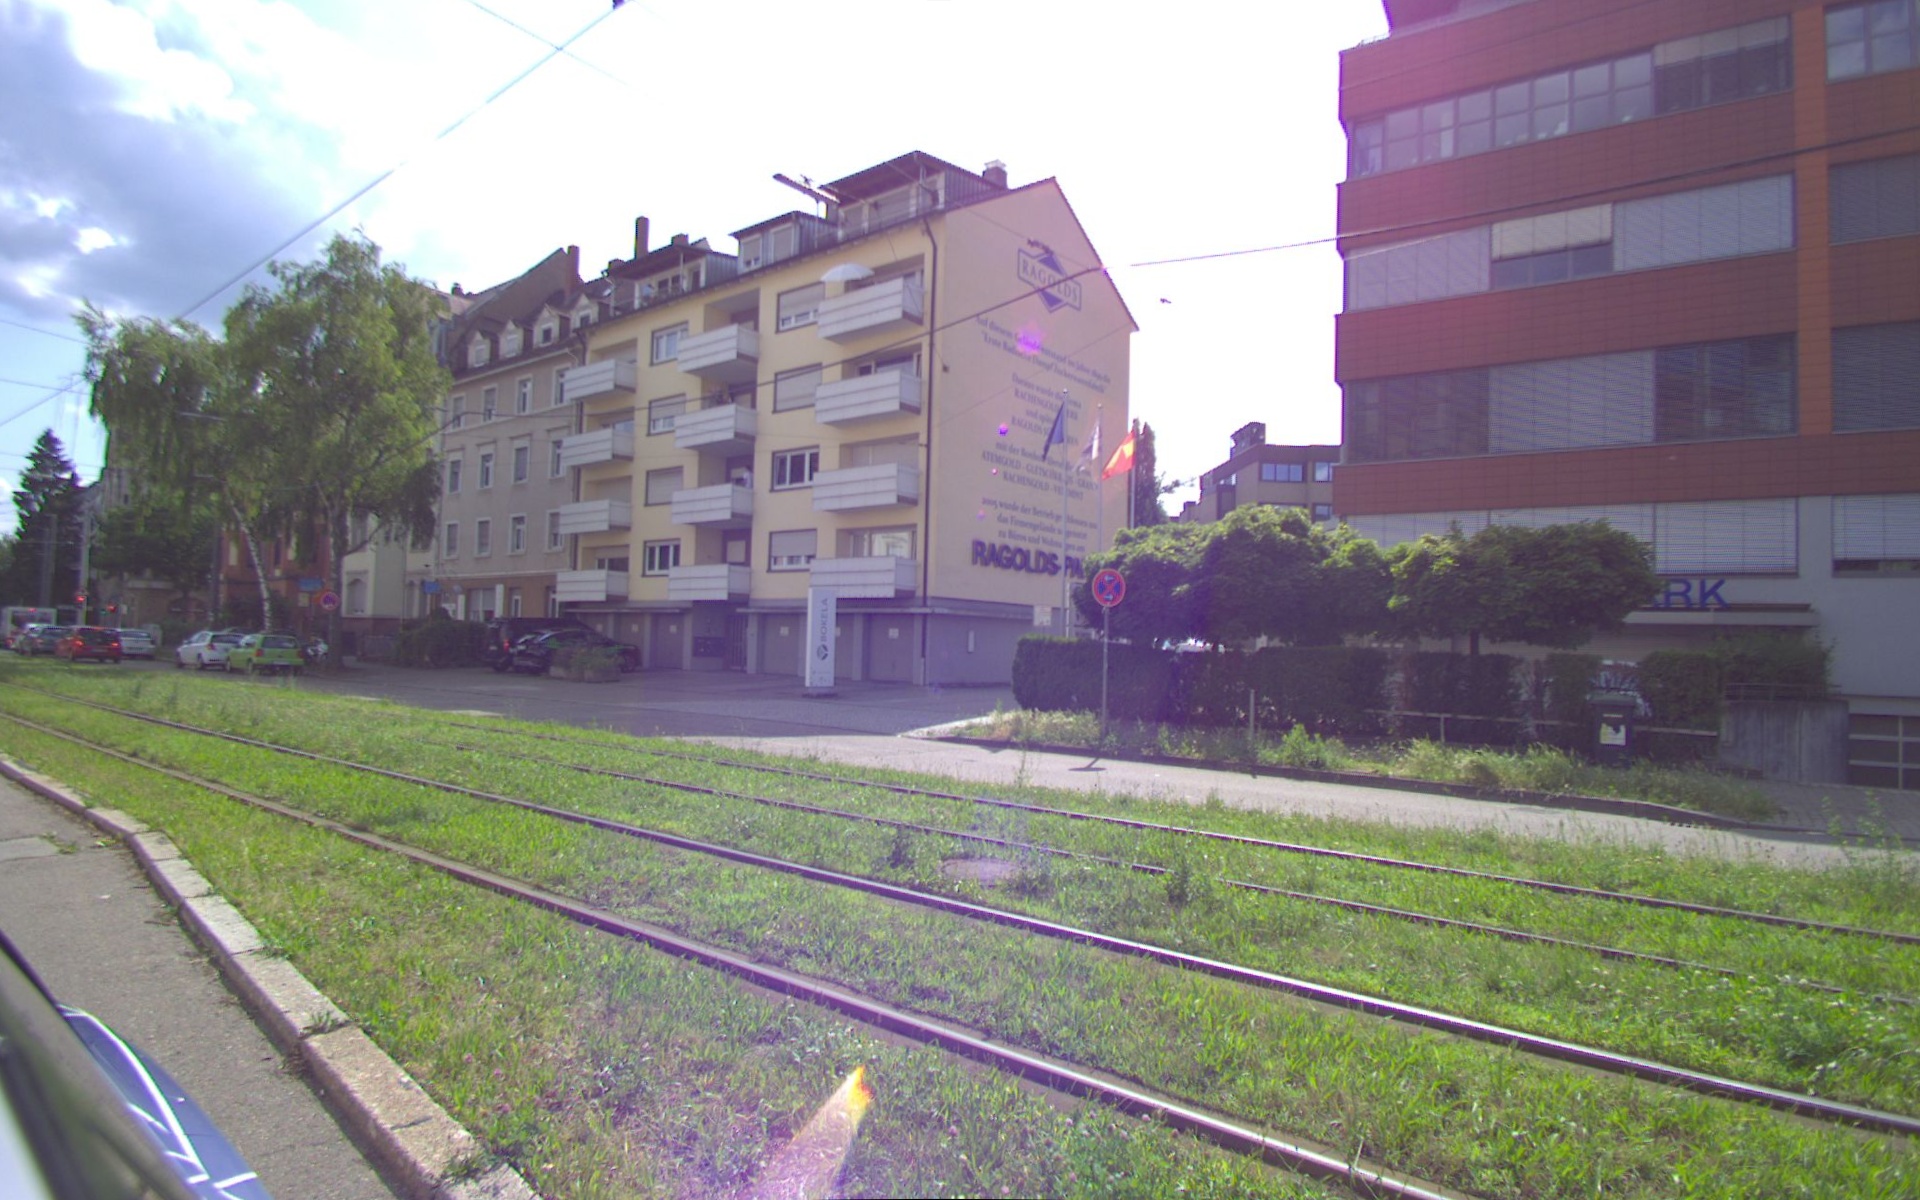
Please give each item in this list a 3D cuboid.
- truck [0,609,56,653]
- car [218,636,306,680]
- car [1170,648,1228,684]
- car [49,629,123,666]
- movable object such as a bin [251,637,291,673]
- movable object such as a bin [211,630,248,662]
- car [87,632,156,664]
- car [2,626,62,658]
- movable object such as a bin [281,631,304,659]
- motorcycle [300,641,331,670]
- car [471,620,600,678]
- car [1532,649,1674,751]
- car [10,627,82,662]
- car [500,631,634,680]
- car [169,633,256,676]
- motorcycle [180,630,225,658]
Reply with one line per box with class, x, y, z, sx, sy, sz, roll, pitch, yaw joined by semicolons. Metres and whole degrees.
truck;-52.380;1.726;56.475;6.612;2.231;2.161;-2;-5;43
car;-24.800;2.045;35.918;3.611;1.443;1.578;-1;-5;40
car;13.084;3.606;55.639;1.743;1.827;4.007;2;-3;-8
car;-35.316;1.901;40.866;3.689;1.397;1.563;-1;-5;39
movable object such as a bin;-28.315;2.237;41.587;1.519;1.441;0.942;-1;-2;38
movable object such as a bin;-33.148;2.062;45.917;1.519;1.377;0.942;-1;1;38
car;-39.267;2.225;47.379;3.992;1.366;1.737;-1;-4;40
car;-45.623;2.057;49.724;4.133;1.425;1.736;-1;-6;43
movable object such as a bin;-32.672;2.208;49.514;0.698;1.372;0.667;-1;-4;35
motorcycle;-24.750;2.122;38.866;1.630;1.050;0.494;0;0;38
car;-15.716;1.788;37.602;1.936;2.029;3.944;-1;-2;42
car;11.903;1.758;18.635;1.996;1.608;3.952;-1;-4;35
car;-40.847;1.987;45.203;4.509;1.366;1.737;-1;-5;40
car;-13.805;1.920;35.715;1.970;1.614;3.948;-1;-2;38
car;-28.870;2.093;39.033;4.221;1.489;1.628;-1;-5;39
motorcycle;-35.538;2.073;47.465;2.288;1.252;0.893;-1;-4;33
